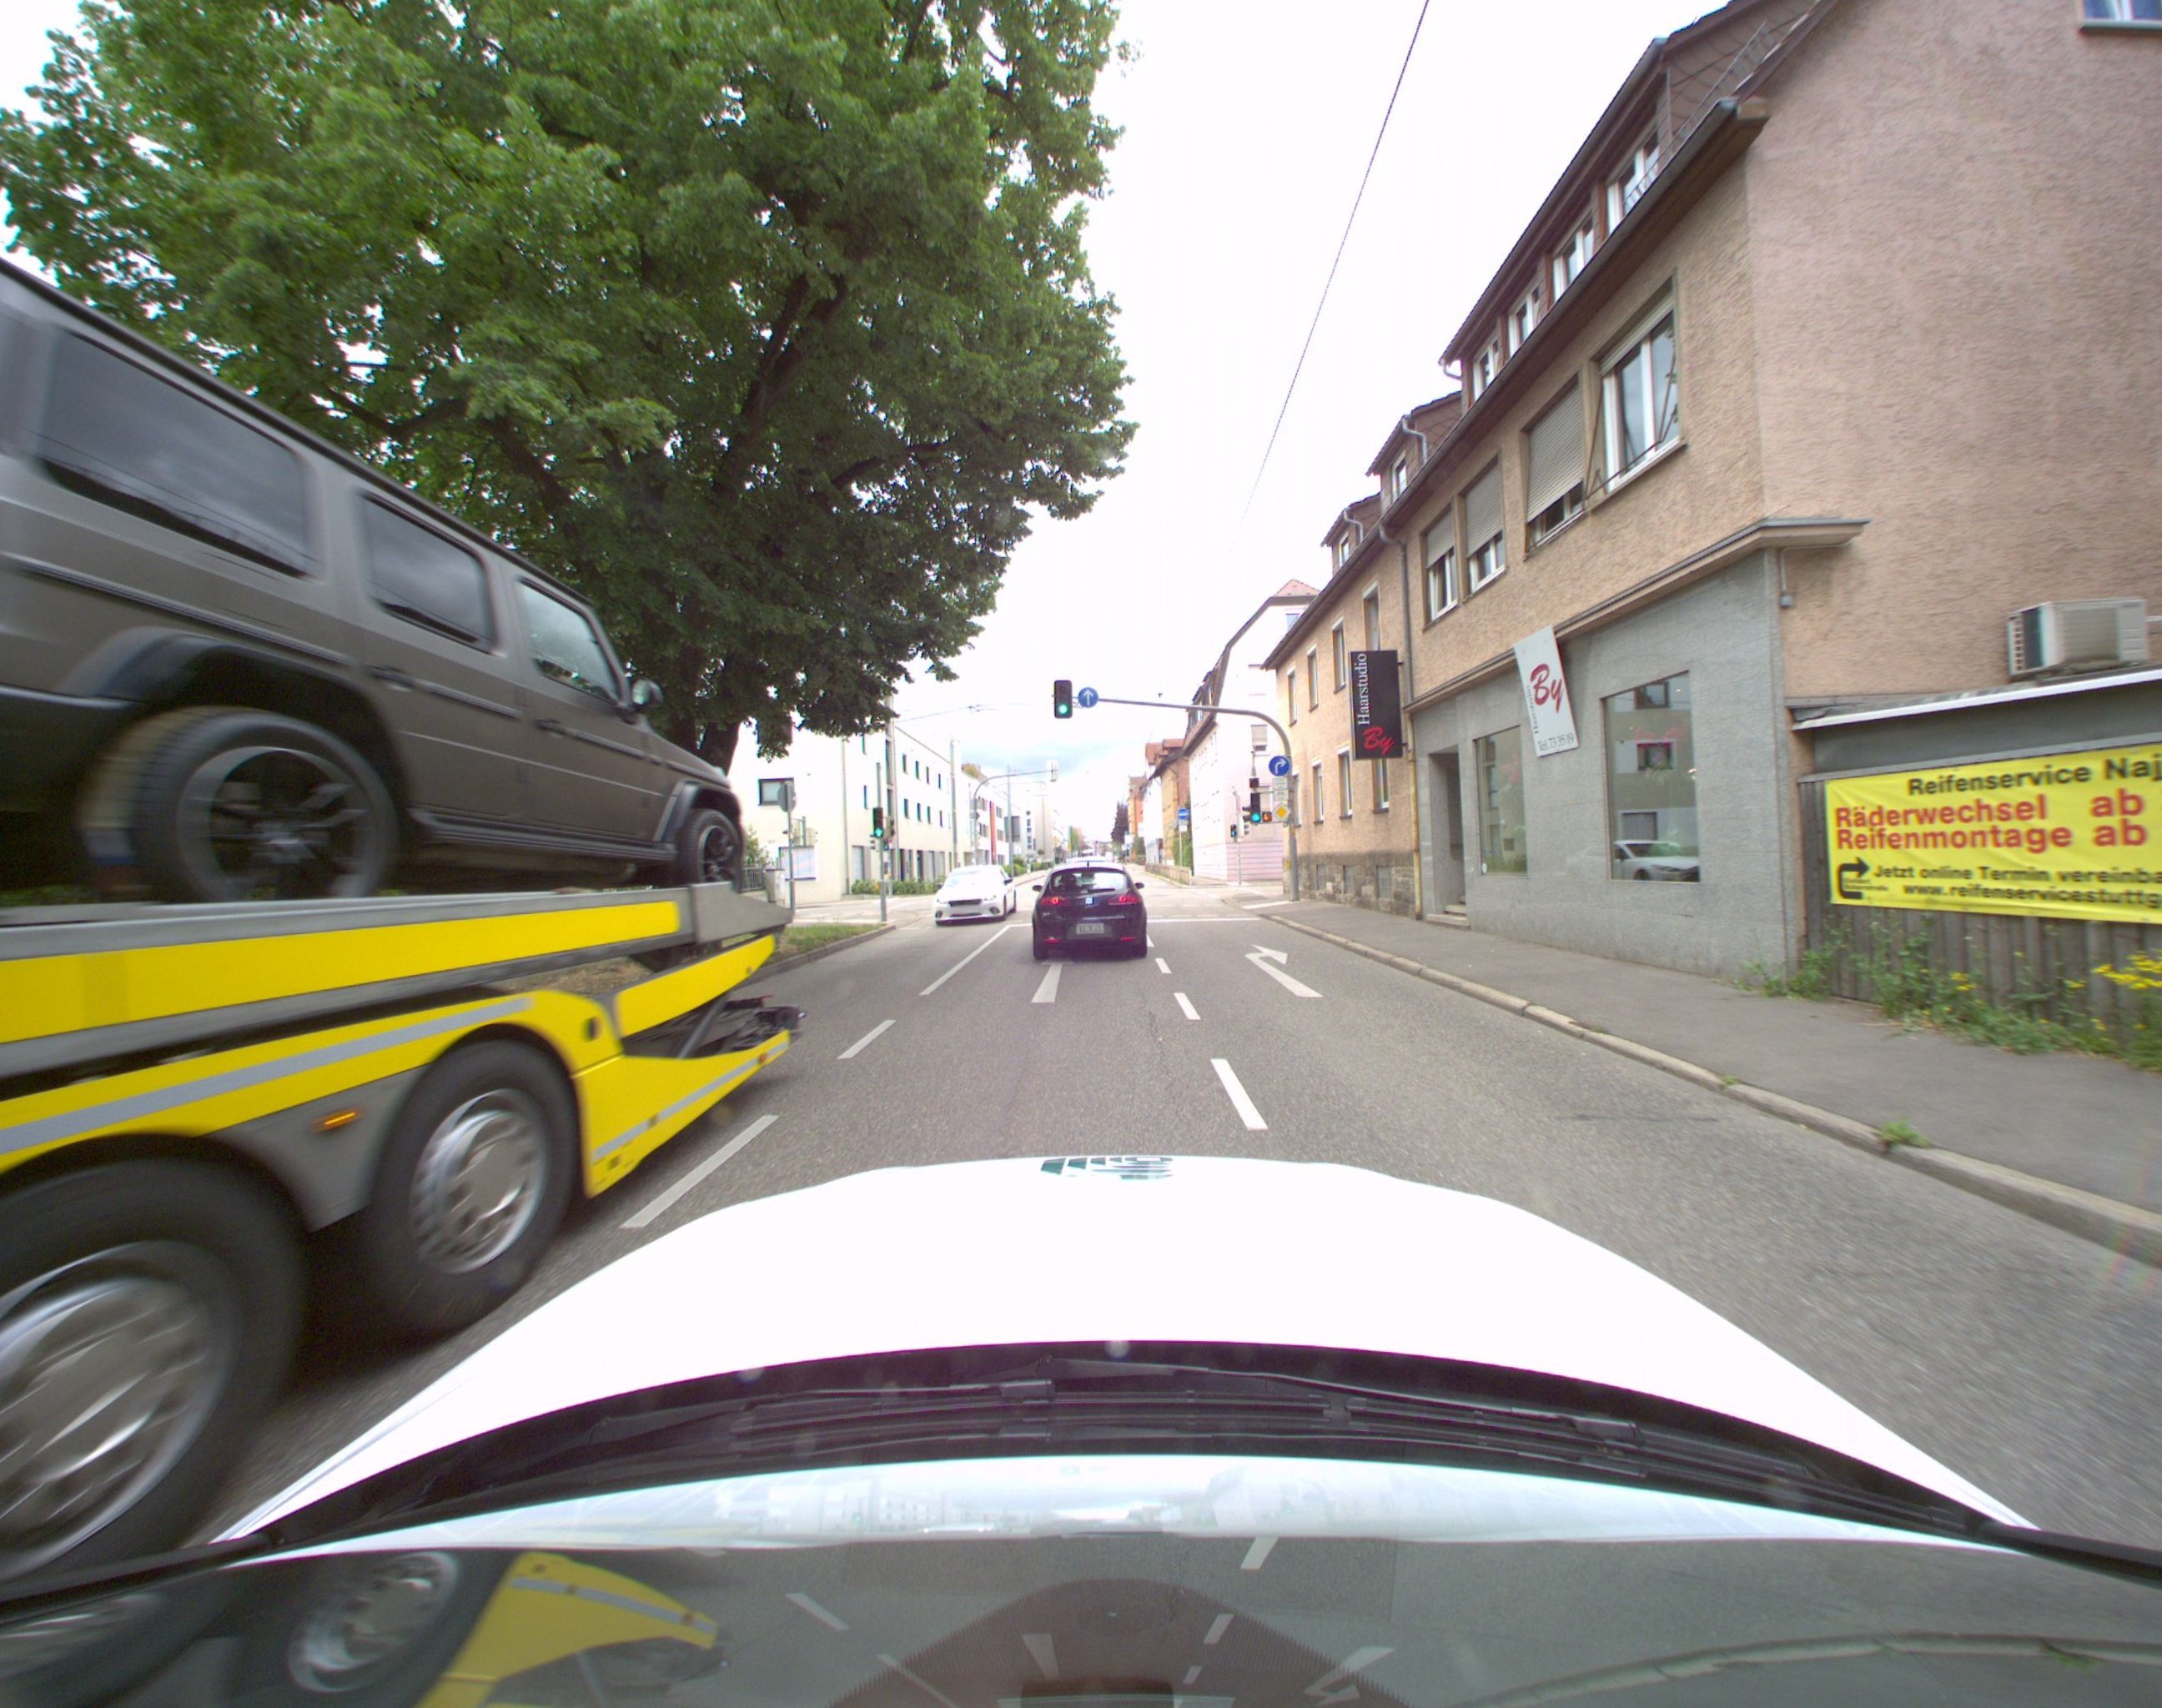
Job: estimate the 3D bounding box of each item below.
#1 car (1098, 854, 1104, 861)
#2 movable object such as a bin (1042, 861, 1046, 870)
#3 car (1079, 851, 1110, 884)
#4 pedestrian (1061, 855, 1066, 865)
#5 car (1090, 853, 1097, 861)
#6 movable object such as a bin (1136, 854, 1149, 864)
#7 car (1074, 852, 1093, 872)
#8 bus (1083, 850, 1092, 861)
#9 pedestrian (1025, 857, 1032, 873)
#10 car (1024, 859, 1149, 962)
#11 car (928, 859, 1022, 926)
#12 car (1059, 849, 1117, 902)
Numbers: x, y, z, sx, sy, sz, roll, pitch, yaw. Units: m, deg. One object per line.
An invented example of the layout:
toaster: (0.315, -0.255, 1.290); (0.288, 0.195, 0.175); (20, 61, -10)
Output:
car: (5.144, 0.841, 210.109); (1.526, 1.693, 3.693); (-2, 0, 1)
movable object such as a bin: (-4.736, 1.472, 104.226); (0.547, 1.078, 0.612); (-1, -1, 2)
car: (0.732, 0.710, 43.622); (1.526, 1.693, 3.693); (-1, -1, 1)
pedestrian: (-2.923, 0.993, 133.861); (0.728, 1.729, 0.859); (-1, -1, 0)
car: (2.841, 0.755, 181.608); (1.526, 1.693, 3.693); (-3, 0, 1)
movable object such as a bin: (9.189, 0.720, 121.171); (1.811, 1.437, 1.994); (-1, -1, 2)
car: (0.249, 0.712, 71.565); (1.526, 1.693, 3.693); (-1, -1, 1)
bus: (1.734, 0.348, 218.262); (2.202, 2.886, 8.921); (-1, -1, 1)
pedestrian: (-5.065, 1.033, 78.565); (0.525, 1.548, 0.541); (-1, -1, 1)
car: (0.120, 0.828, 13.598); (1.753, 1.442, 4.001); (-1, -1, 1)
car: (-2.739, 0.960, 21.987); (1.760, 1.470, 4.228); (-5, -1, 2)
car: (0.265, 0.707, 28.523); (1.836, 1.693, 4.000); (-1, -1, 1)
